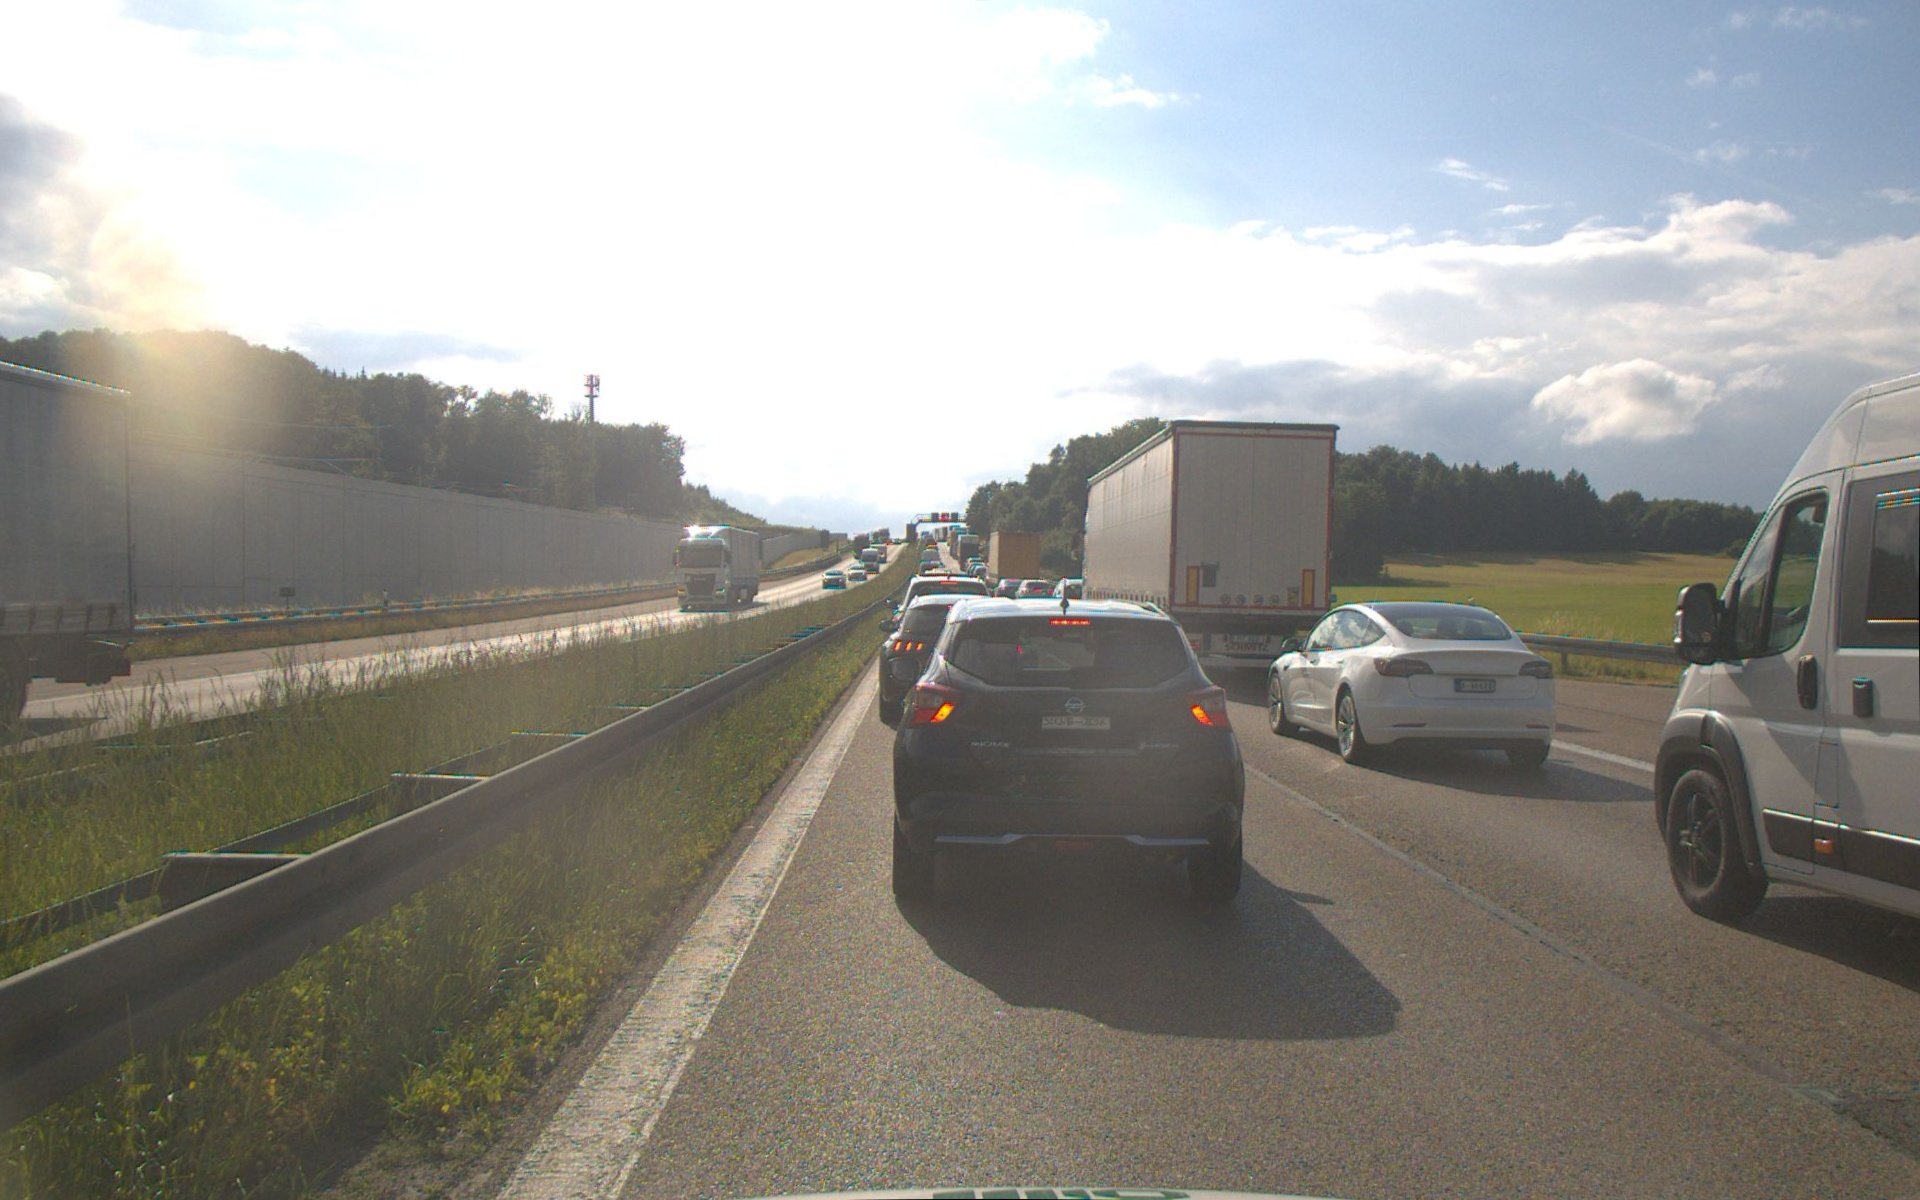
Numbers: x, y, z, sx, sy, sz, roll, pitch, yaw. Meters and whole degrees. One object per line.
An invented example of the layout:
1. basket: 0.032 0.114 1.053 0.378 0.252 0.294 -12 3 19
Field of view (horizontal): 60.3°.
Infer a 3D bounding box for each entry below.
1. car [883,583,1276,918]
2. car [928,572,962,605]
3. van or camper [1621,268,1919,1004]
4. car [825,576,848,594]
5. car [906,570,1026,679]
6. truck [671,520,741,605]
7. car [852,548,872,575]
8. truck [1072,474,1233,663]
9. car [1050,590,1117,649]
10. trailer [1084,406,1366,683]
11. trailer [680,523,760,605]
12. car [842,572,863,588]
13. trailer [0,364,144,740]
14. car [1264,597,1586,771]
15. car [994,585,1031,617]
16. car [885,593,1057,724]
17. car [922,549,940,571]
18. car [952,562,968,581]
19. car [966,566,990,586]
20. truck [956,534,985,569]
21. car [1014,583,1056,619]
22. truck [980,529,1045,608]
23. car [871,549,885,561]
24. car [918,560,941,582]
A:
1. car: 0.501 0.658 9.436 1.737 1.476 4.231 0 0 -1
2. car: -0.838 -0.632 90.410 1.835 1.673 4.232 0 2 -1
3. van or camper: 4.651 0.137 5.662 2.170 2.728 6.331 0 0 -1
4. car: -9.886 -1.192 132.862 1.618 1.476 3.955 0 0 -1
5. car: 0.063 0.374 27.556 1.835 1.673 4.231 0 0 -1
6. truck: -12.997 -1.858 85.032 2.720 4.159 5.530 -2 0 -1
7. car: -11.169 -4.405 189.147 2.061 2.920 5.634 0 0 -2
8. truck: 4.395 -0.671 38.764 3.070 4.086 5.162 1 -1 -1
9. car: 3.604 0.544 48.845 1.663 1.639 4.436 0 0 0
10. trailer: 4.462 -0.754 31.364 3.067 4.081 13.364 1 -1 0
11. trailer: -13.198 -1.885 92.131 2.734 4.148 13.516 -1 0 -2
12. car: -10.442 -1.961 161.436 1.835 1.476 4.231 0 0 -1
13. trailer: -11.718 -0.499 14.450 2.629 4.108 13.788 -1 0 -1
14. car: 4.304 0.701 16.065 1.752 1.418 4.435 0 0 -2
15. car: 2.894 0.033 91.682 1.835 1.673 4.231 0 1 -1
16. car: 0.089 0.615 19.697 1.835 1.381 4.231 0 0 -1
17. car: -3.095 -4.308 177.075 1.835 2.195 5.211 0 3 -1
18. car: -0.014 -3.542 204.333 1.835 2.195 5.211 0 3 -1
19. car: 1.576 -2.138 147.283 1.836 1.673 4.229 0 2 -4
20. truck: 1.364 -6.755 230.023 3.395 4.656 12.437 1 1 -2
21. car: 3.714 0.017 82.151 1.835 1.673 4.232 0 1 -1
22. truck: 3.215 -1.888 105.216 3.231 4.657 12.434 1 0 -2
23. car: -11.700 -6.408 236.675 1.872 1.700 4.361 0 2 -2
24. car: -2.461 -2.357 132.981 1.835 1.673 4.231 0 2 -2
